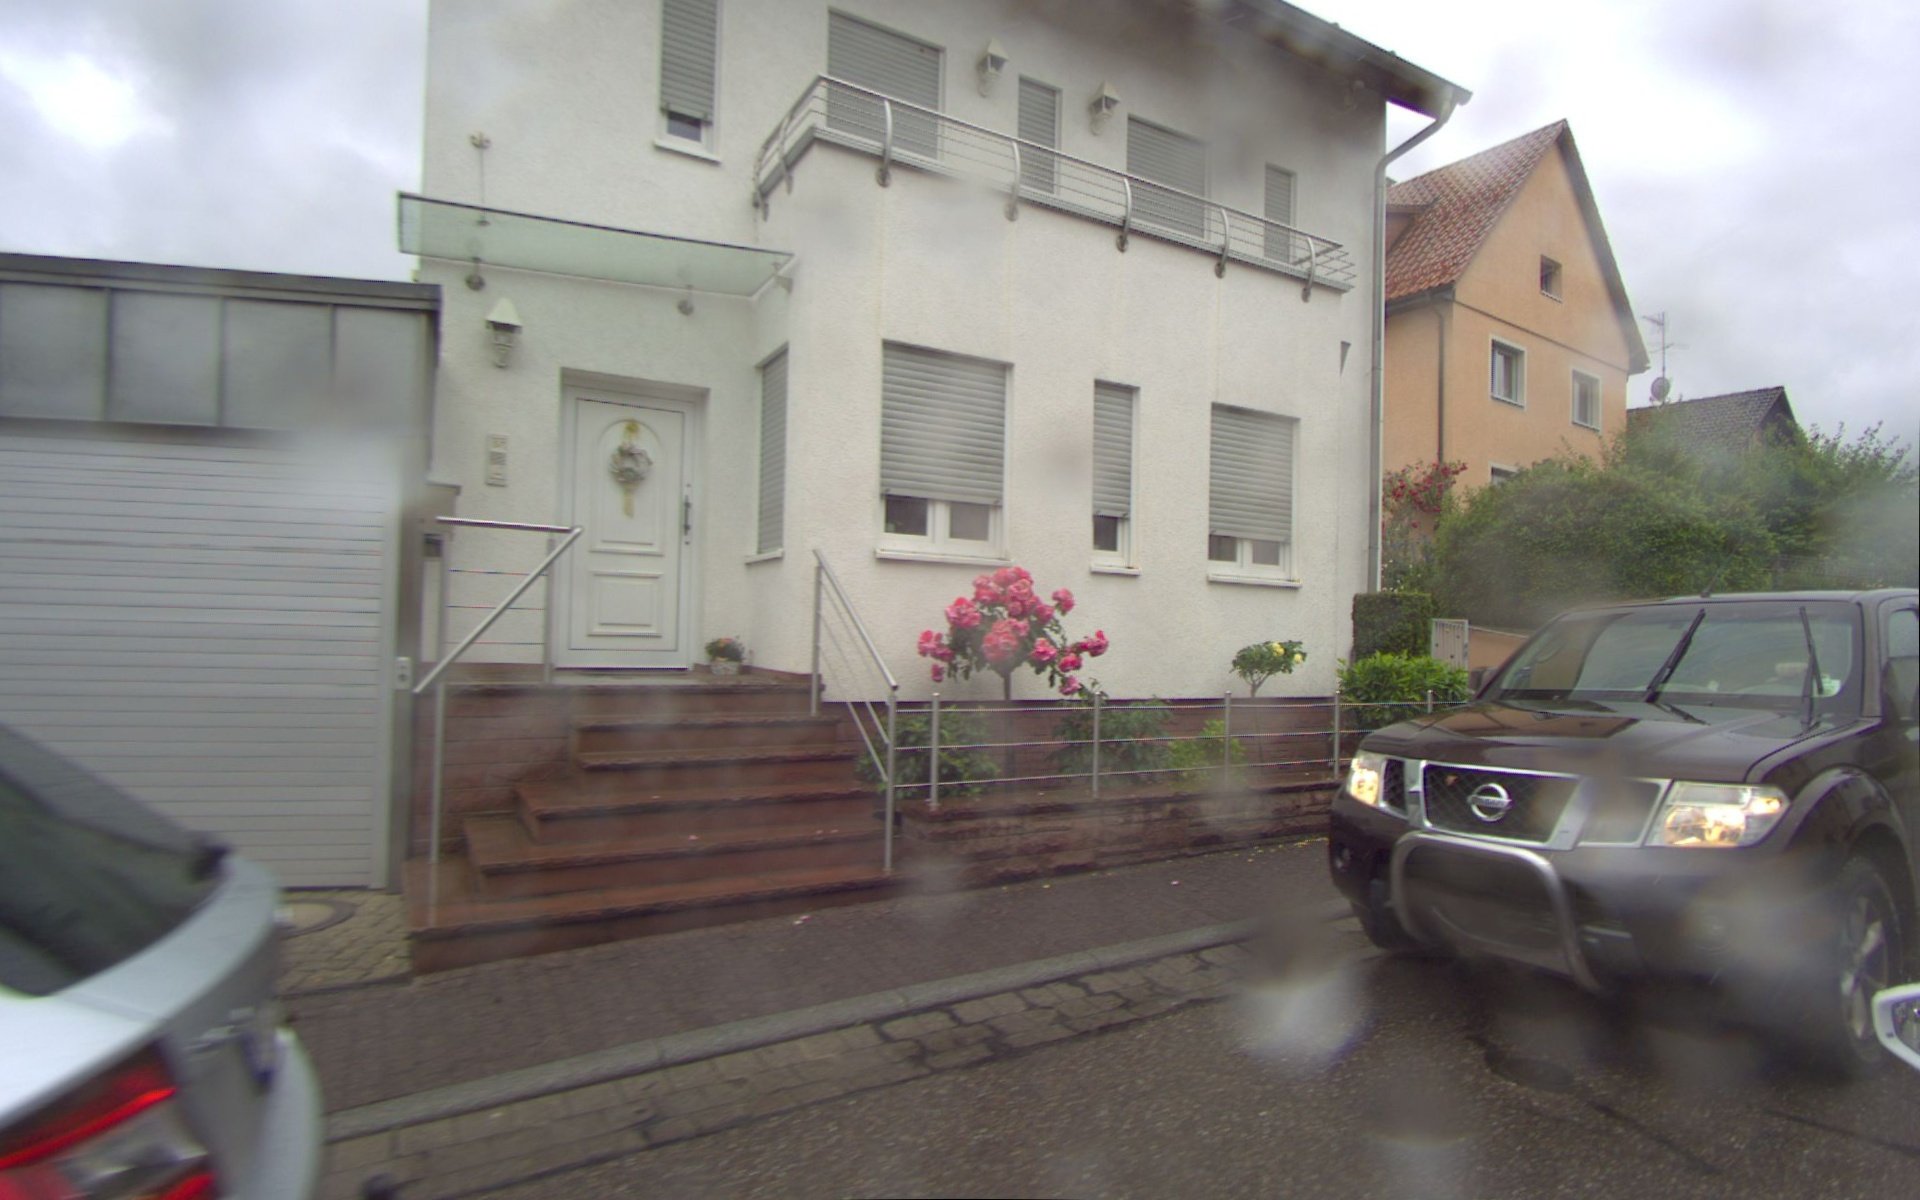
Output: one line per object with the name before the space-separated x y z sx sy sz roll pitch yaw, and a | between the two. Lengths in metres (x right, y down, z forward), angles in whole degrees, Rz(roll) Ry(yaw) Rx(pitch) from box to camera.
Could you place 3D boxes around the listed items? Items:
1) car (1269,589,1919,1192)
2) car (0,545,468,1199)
car | 4.004 0.916 5.043 5.142 1.695 1.824 1 -3 -33
car | -2.515 0.750 0.799 3.676 1.500 1.571 0 -4 -33
